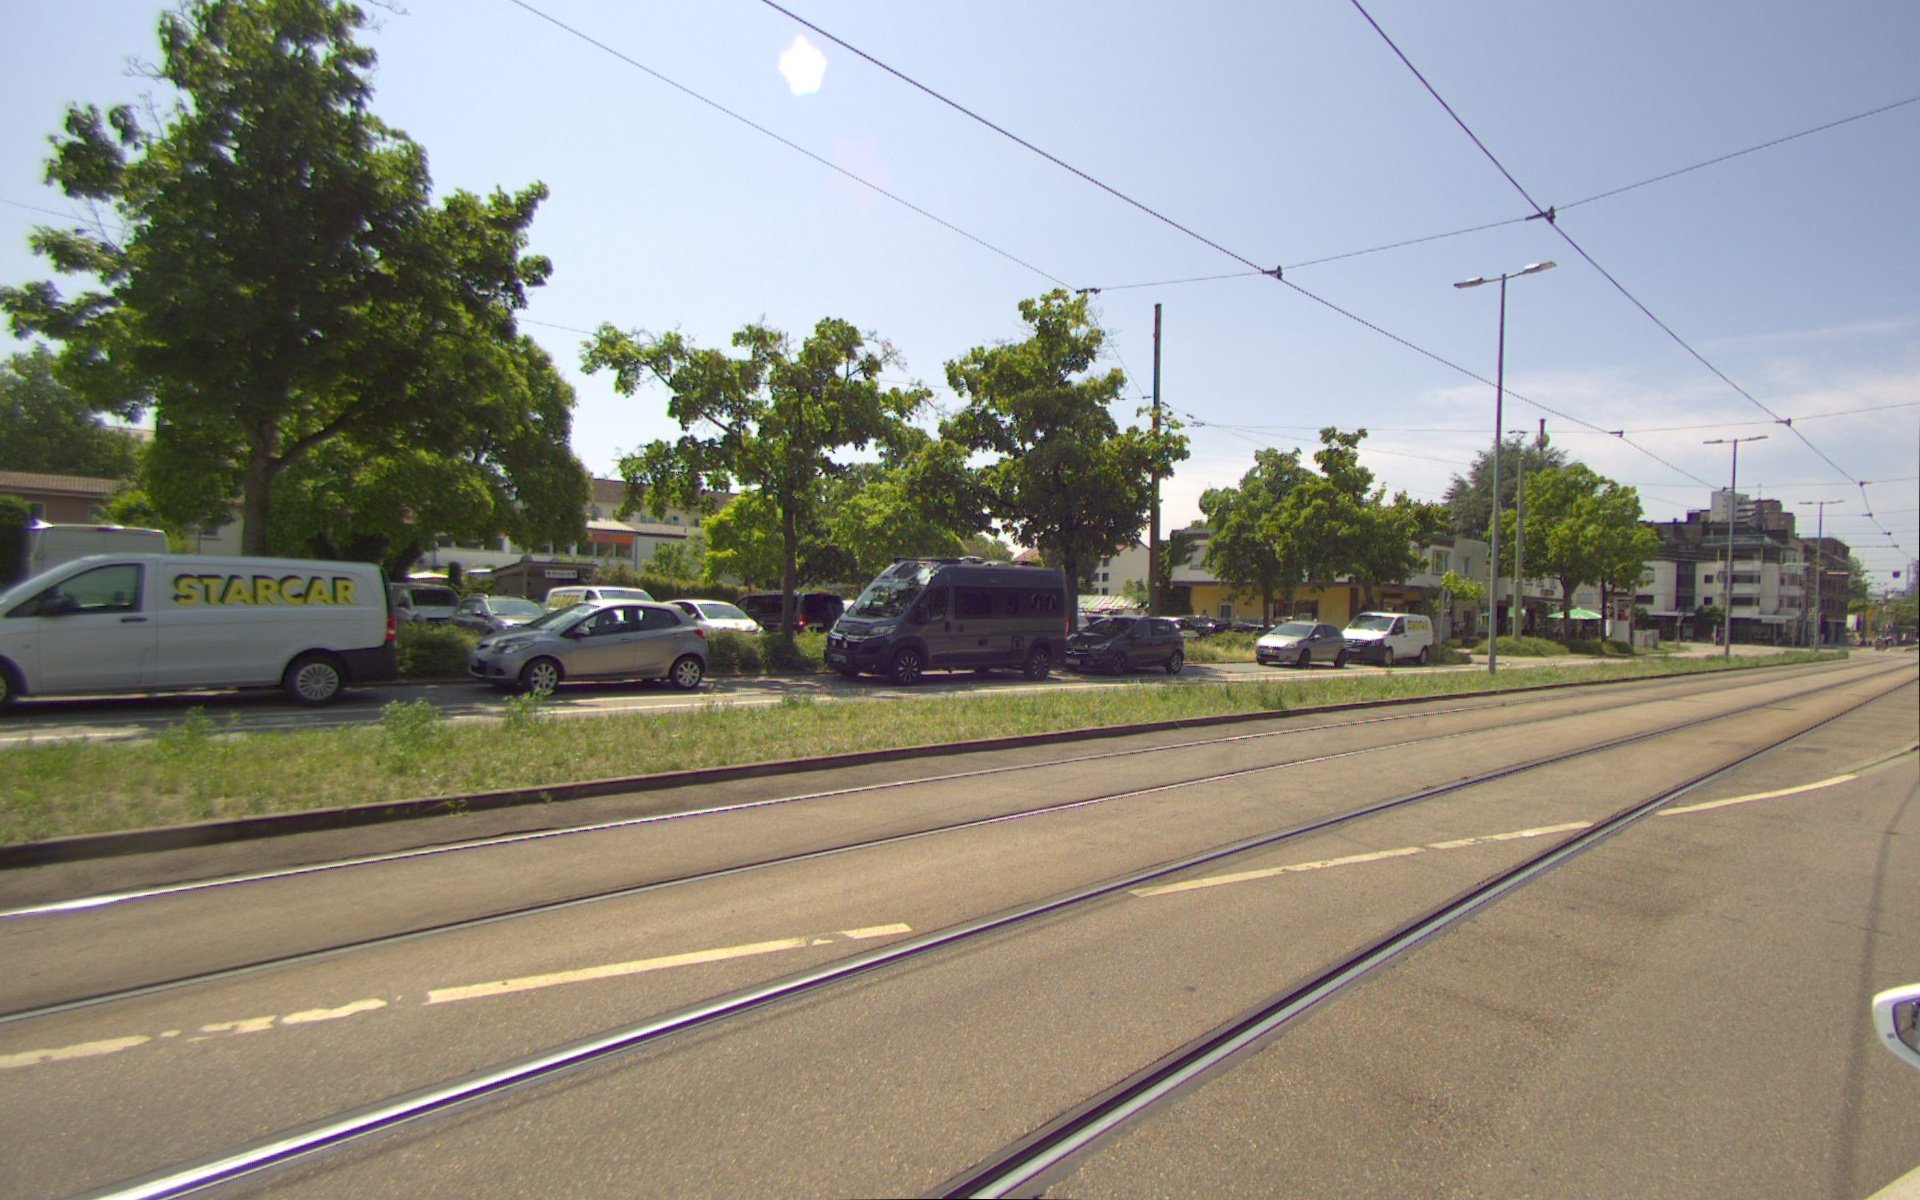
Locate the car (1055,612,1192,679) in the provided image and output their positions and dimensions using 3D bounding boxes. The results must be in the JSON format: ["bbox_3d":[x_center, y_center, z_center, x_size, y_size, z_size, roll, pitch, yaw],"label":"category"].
[{"bbox_3d":[4.326,1.163,26.252,3.997,1.543,1.299,2,3,-44],"label":"car"}]

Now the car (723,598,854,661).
[{"bbox_3d":[-5.537,0.900,32.048,1.785,1.837,4.671,2,-1,-45],"label":"car"}]

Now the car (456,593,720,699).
[{"bbox_3d":[-6.037,0.723,16.569,3.813,1.459,1.391,2,3,-44],"label":"car"}]

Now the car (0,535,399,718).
[{"bbox_3d":[-10.029,0.300,12.733,4.769,1.963,1.845,2,3,-42],"label":"car"}]

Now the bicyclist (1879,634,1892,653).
[{"bbox_3d":[105.082,4.886,114.064,0.943,2.119,0.850,1,-1,34],"label":"bicyclist"}]

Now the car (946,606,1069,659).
[{"bbox_3d":[1.727,1.184,37.907,1.785,1.837,4.671,2,-1,-45],"label":"car"}]

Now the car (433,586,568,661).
[{"bbox_3d":[-11.935,0.555,25.960,1.845,1.789,4.167,2,-1,-45],"label":"car"}]

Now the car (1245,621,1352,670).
[{"bbox_3d":[11.261,1.489,33.321,3.837,1.439,1.617,2,2,-42],"label":"car"}]

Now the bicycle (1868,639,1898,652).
[{"bbox_3d":[104.911,5.162,114.188,2.475,1.438,0.635,1,-1,34],"label":"bicycle"}]

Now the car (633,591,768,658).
[{"bbox_3d":[-7.807,0.684,29.914,1.785,1.837,4.671,2,-1,-45],"label":"car"}]

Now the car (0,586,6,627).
[{"bbox_3d":[-30.330,0.182,30.718,1.499,1.186,3.712,2,0,-41],"label":"car"}]

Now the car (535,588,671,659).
[{"bbox_3d":[-10.067,0.600,28.136,1.785,1.837,4.671,2,-1,-45],"label":"car"}]

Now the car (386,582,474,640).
[{"bbox_3d":[-18.540,0.360,35.072,1.765,1.845,4.090,2,0,-42],"label":"car"}]

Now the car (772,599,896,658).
[{"bbox_3d":[-4.383,0.931,34.383,1.784,1.837,4.673,2,-1,-43],"label":"car"}]

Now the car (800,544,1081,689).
[{"bbox_3d":[-0.265,0.350,22.234,6.131,2.692,2.375,2,3,-44],"label":"car"}]

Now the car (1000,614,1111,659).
[{"bbox_3d":[3.820,1.451,40.785,1.785,1.624,4.335,2,-1,-45],"label":"car"}]

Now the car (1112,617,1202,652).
[{"bbox_3d":[9.064,1.570,46.487,1.636,1.449,3.824,2,-1,-45],"label":"car"}]

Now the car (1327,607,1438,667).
[{"bbox_3d":[15.985,1.383,37.871,5.129,1.992,1.857,2,3,-44],"label":"car"}]

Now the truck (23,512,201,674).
[{"bbox_3d":[-17.113,-0.118,20.233,2.414,2.796,5.527,2,-1,-42],"label":"truck"}]
